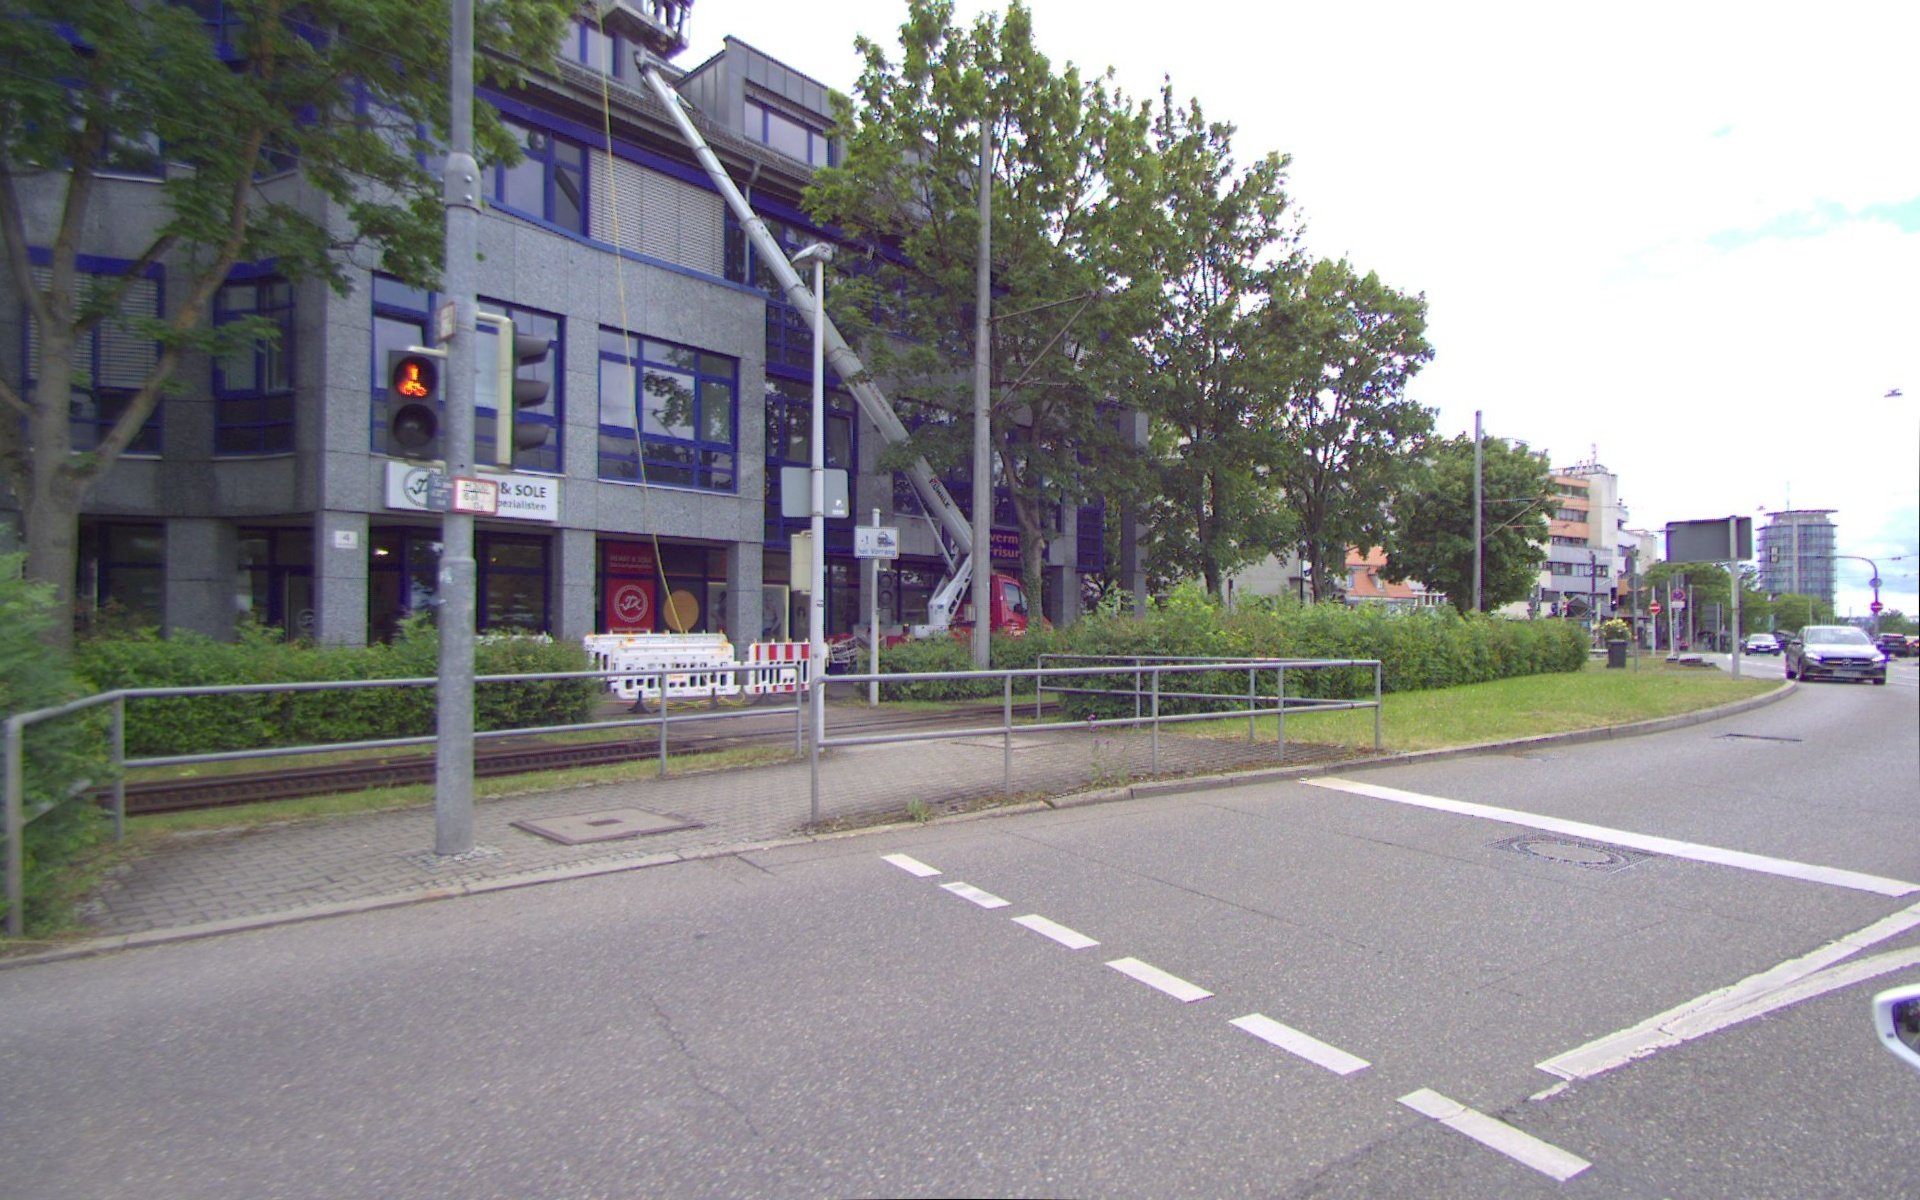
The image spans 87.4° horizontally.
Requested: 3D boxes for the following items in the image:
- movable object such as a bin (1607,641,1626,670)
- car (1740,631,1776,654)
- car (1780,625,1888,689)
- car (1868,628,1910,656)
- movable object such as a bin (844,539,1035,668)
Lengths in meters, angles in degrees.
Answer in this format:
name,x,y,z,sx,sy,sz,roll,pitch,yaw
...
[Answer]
name,x,y,z,sx,sy,sz,roll,pitch,yaw
movable object such as a bin,23.848,2.023,36.503,0.556,1.026,0.836,0,-1,33
car,54.095,2.871,68.115,1.775,1.474,4.595,-1,-2,37
car,24.533,1.535,28.346,1.759,1.558,4.382,1,0,34
car,67.494,3.041,73.037,1.879,1.884,4.689,1,0,38
movable object such as a bin,-0.366,0.062,22.192,1.884,2.565,4.104,3,1,42
